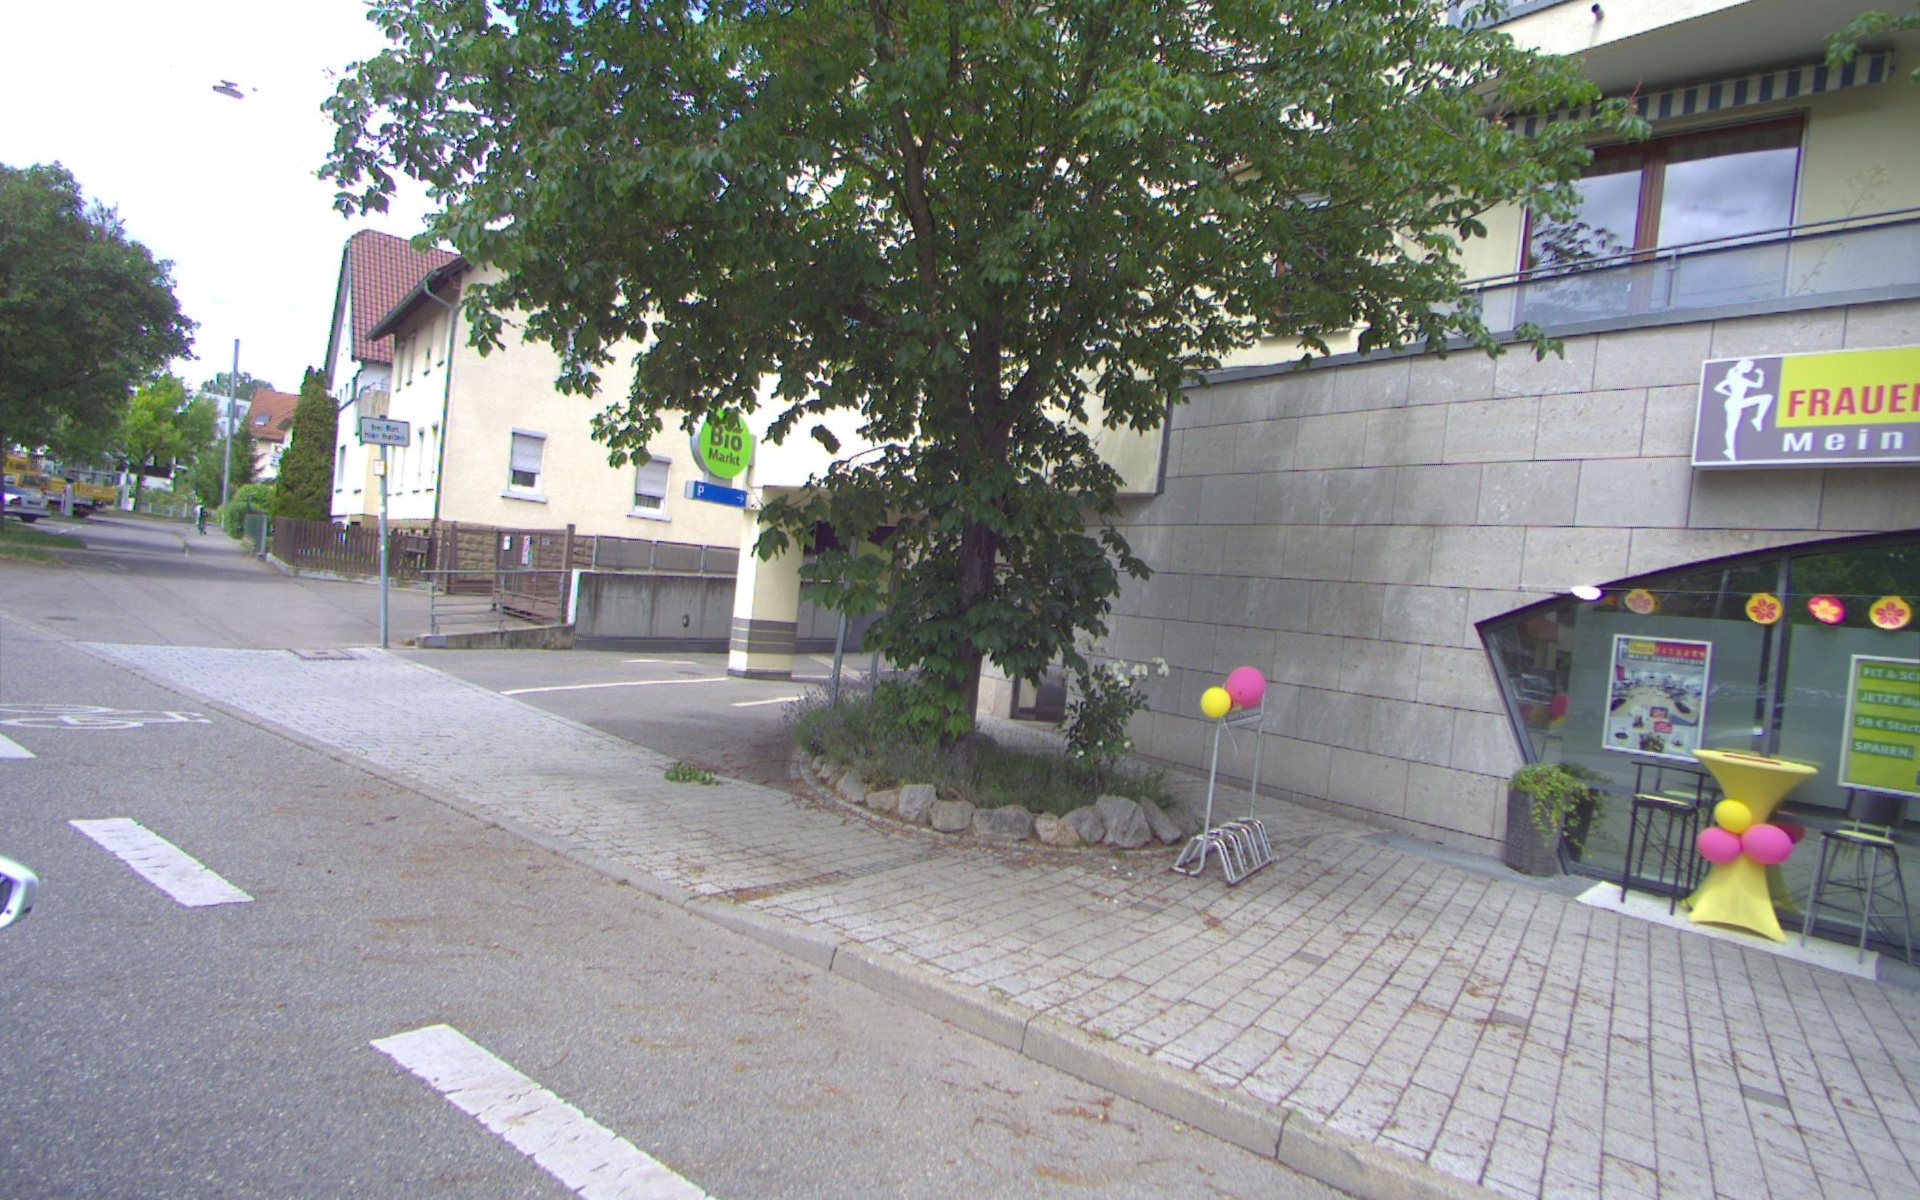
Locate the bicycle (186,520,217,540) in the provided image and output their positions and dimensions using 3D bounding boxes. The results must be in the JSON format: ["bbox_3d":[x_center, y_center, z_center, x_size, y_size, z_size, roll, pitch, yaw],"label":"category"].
[{"bbox_3d":[-38.459,-3.552,50.984,1.725,0.821,0.595,6,-2,31],"label":"bicycle"}]

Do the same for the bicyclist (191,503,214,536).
[{"bbox_3d":[-38.417,-4.091,51.015,0.557,1.577,0.590,6,-1,31],"label":"bicyclist"}]

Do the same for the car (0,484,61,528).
[{"bbox_3d":[-39.319,-4.020,40.473,4.603,1.469,1.768,7,0,0],"label":"car"}]

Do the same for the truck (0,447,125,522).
[{"bbox_3d":[-49.707,-6.336,54.232,6.585,3.042,2.771,8,-2,-2],"label":"truck"}]

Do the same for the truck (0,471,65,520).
[{"bbox_3d":[-49.388,-5.556,51.226,5.574,2.037,2.001,7,-2,-1],"label":"truck"}]
